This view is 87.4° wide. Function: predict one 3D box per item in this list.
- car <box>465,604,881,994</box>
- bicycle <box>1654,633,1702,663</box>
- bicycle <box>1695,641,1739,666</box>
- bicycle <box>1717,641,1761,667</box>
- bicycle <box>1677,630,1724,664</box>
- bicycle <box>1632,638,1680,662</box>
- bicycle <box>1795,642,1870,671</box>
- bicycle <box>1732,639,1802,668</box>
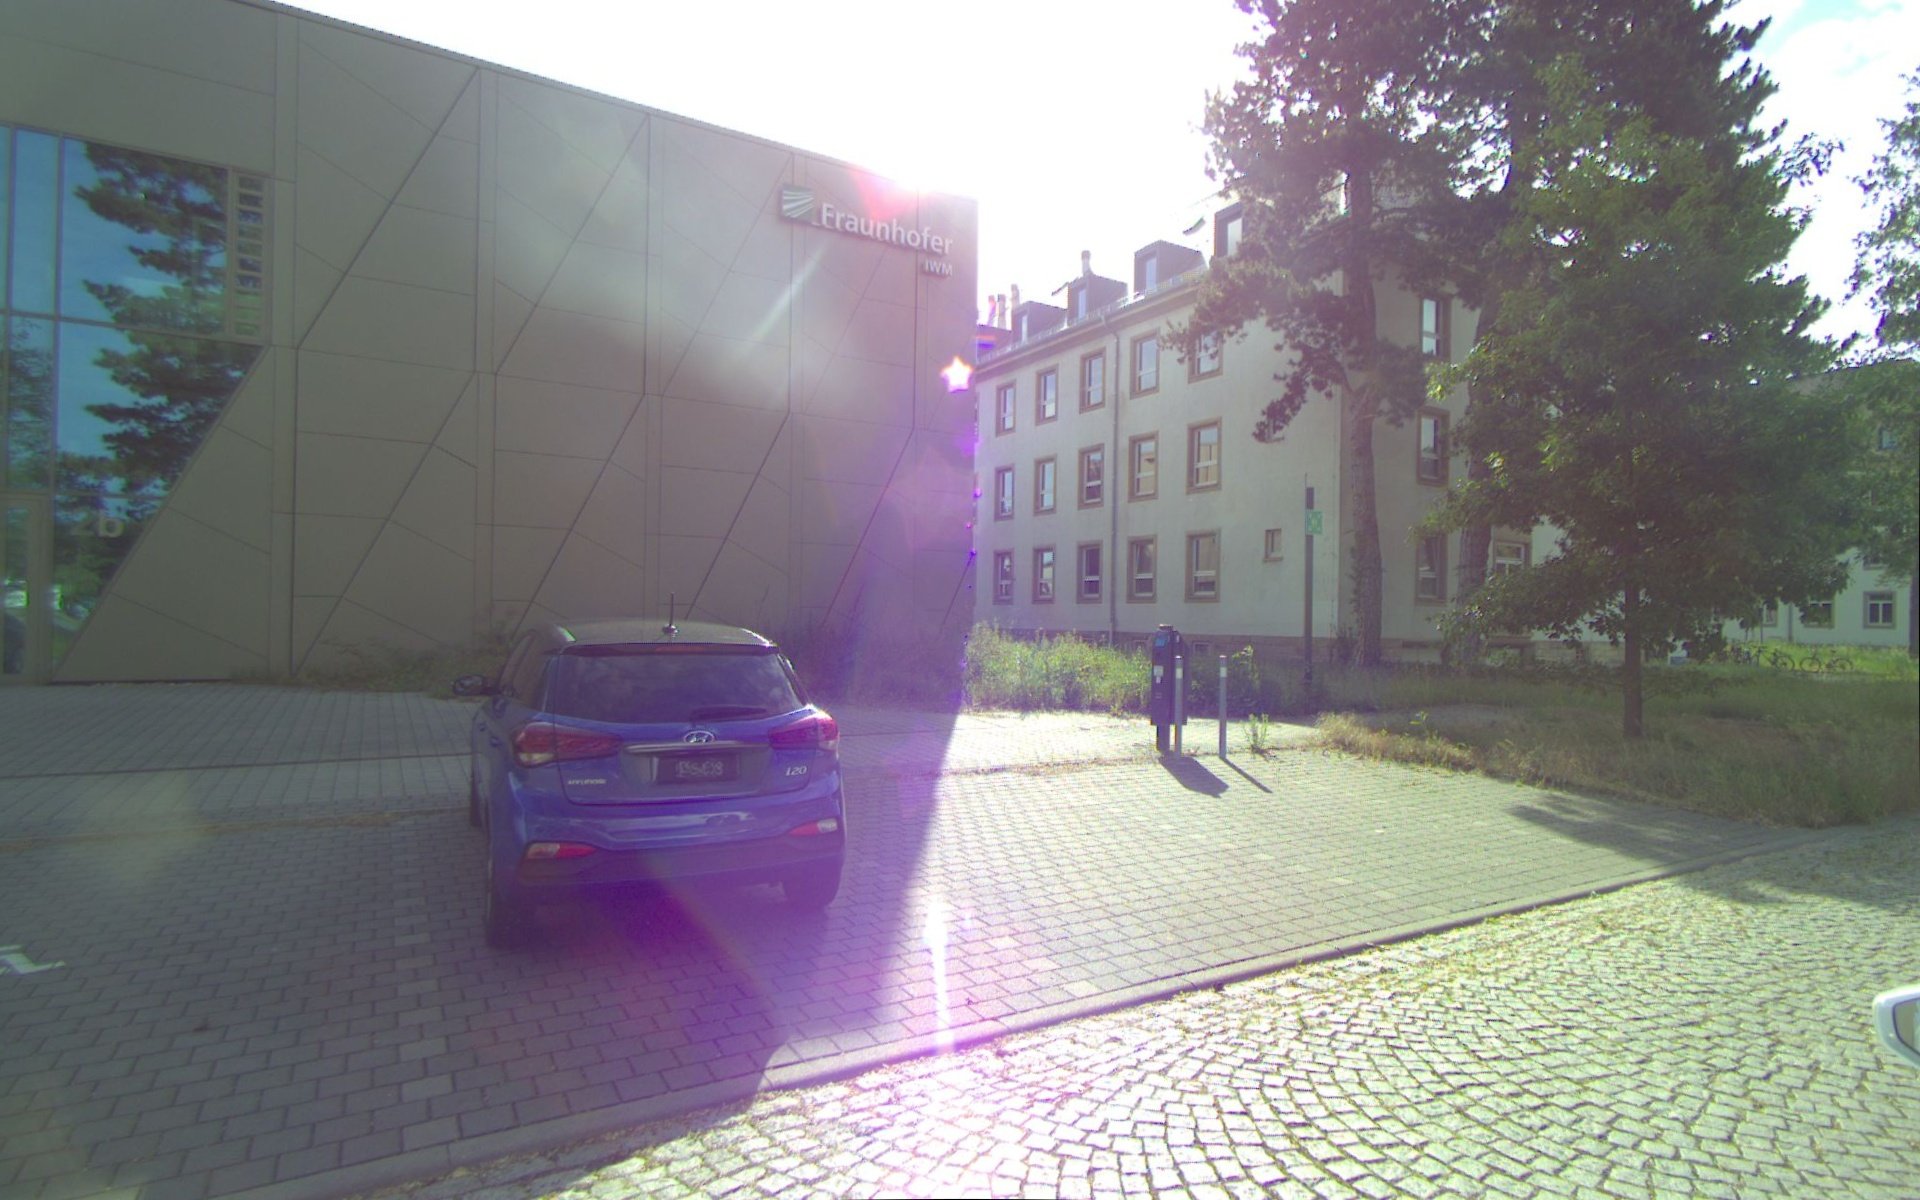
[{"bbox_3d":[-2.028,0.837,6.156,1.698,1.483,3.820,2,0,-27],"label":"car"},{"bbox_3d":[32.312,2.174,45.198,2.524,1.298,0.822,2,-1,-31],"label":"bicycle"},{"bbox_3d":[33.052,2.314,43.823,2.100,1.061,0.822,2,-1,-31],"label":"bicycle"},{"bbox_3d":[33.476,2.327,43.169,2.100,1.061,0.822,2,-1,-31],"label":"bicycle"},{"bbox_3d":[32.951,2.100,44.685,2.524,1.456,0.822,2,-1,-31],"label":"bicycle"},{"bbox_3d":[31.864,2.279,45.977,2.524,1.061,0.896,2,-1,-31],"label":"bicycle"},{"bbox_3d":[34.274,2.213,39.481,0.820,1.061,2.104,2,-1,-33],"label":"bicycle"},{"bbox_3d":[33.142,2.182,41.270,0.820,1.123,2.104,2,-1,-33],"label":"bicycle"}]
